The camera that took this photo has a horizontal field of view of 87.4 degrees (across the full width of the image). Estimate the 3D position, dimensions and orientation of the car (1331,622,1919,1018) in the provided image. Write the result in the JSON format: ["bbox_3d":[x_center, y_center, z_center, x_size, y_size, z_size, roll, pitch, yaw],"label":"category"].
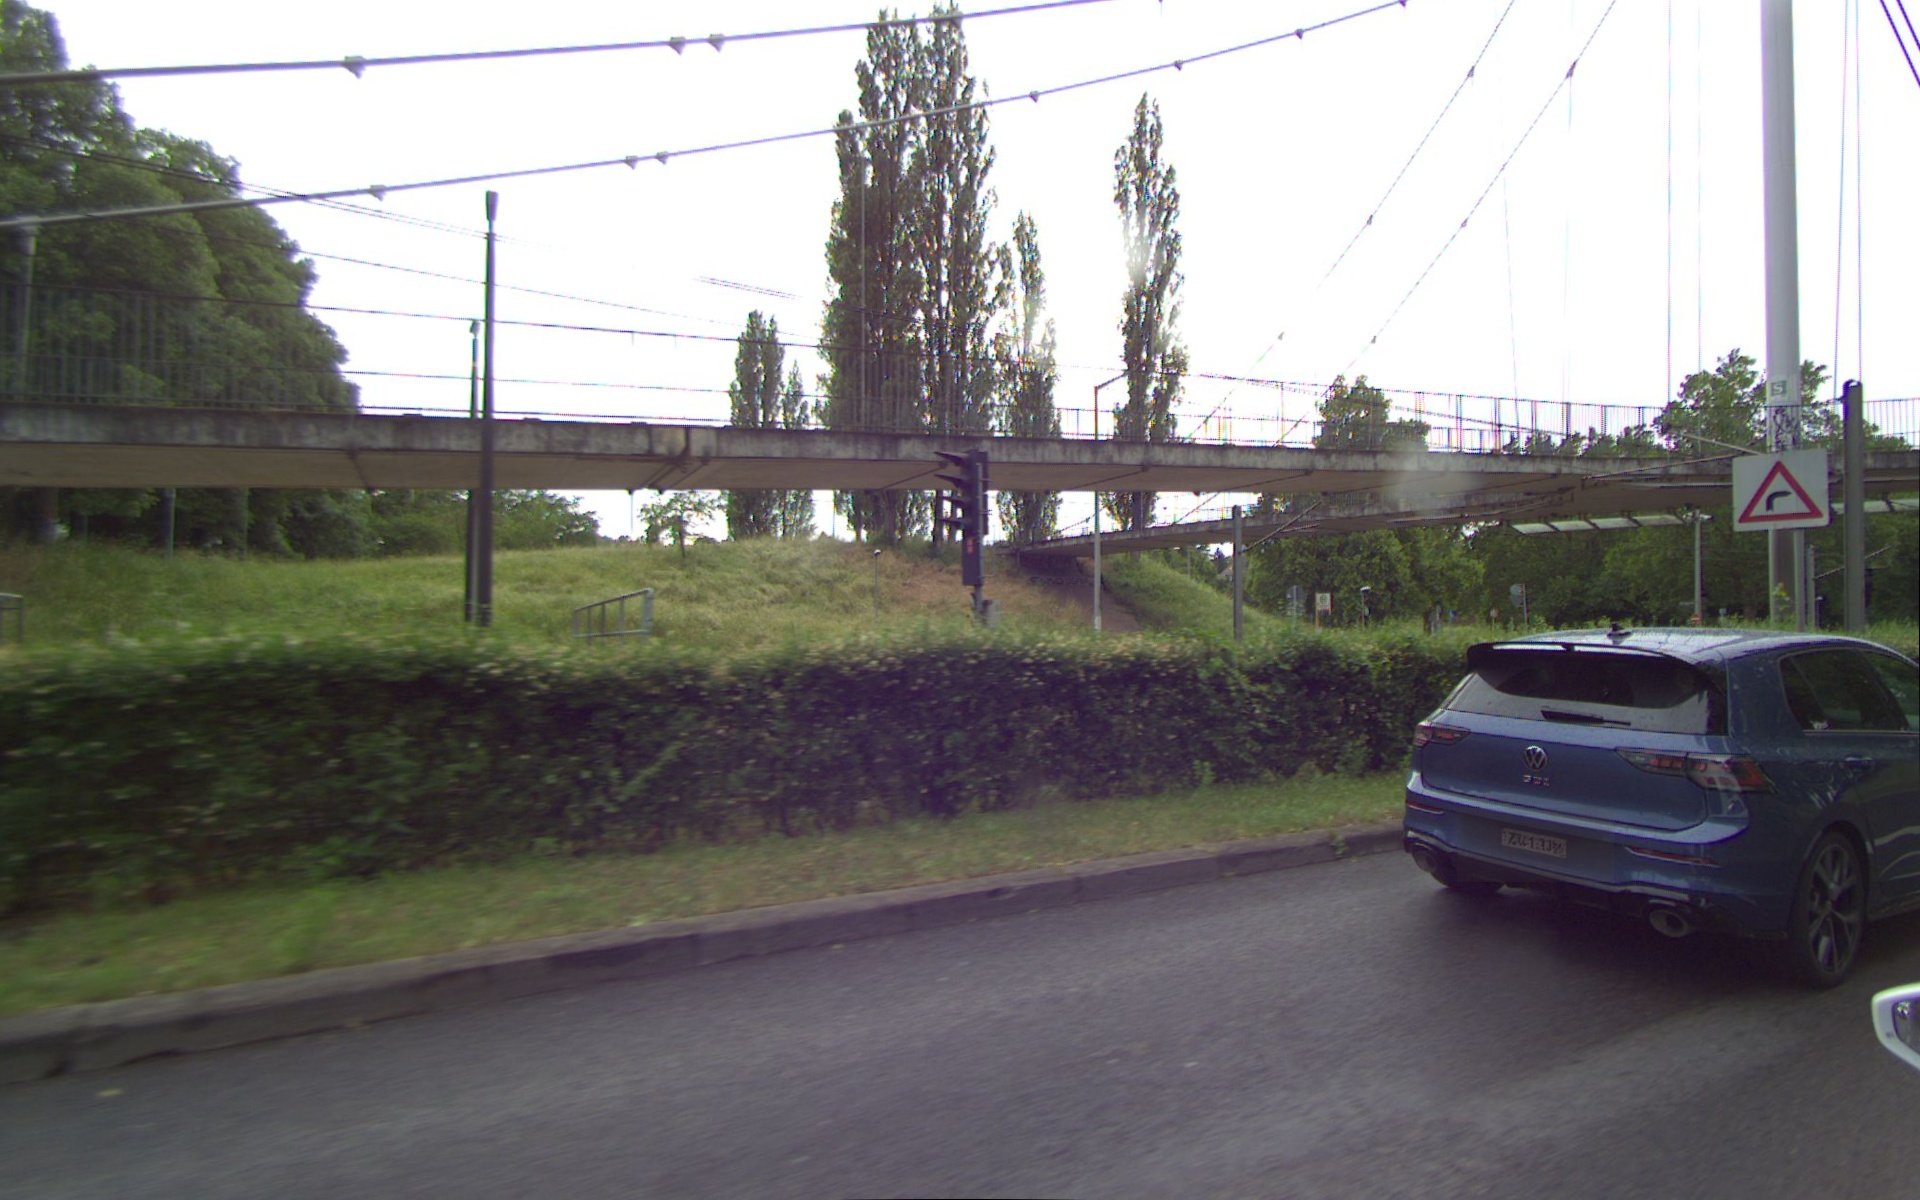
[{"bbox_3d":[4.214,0.844,5.445,4.294,1.397,1.800,1,-1,-29],"label":"car"}]
